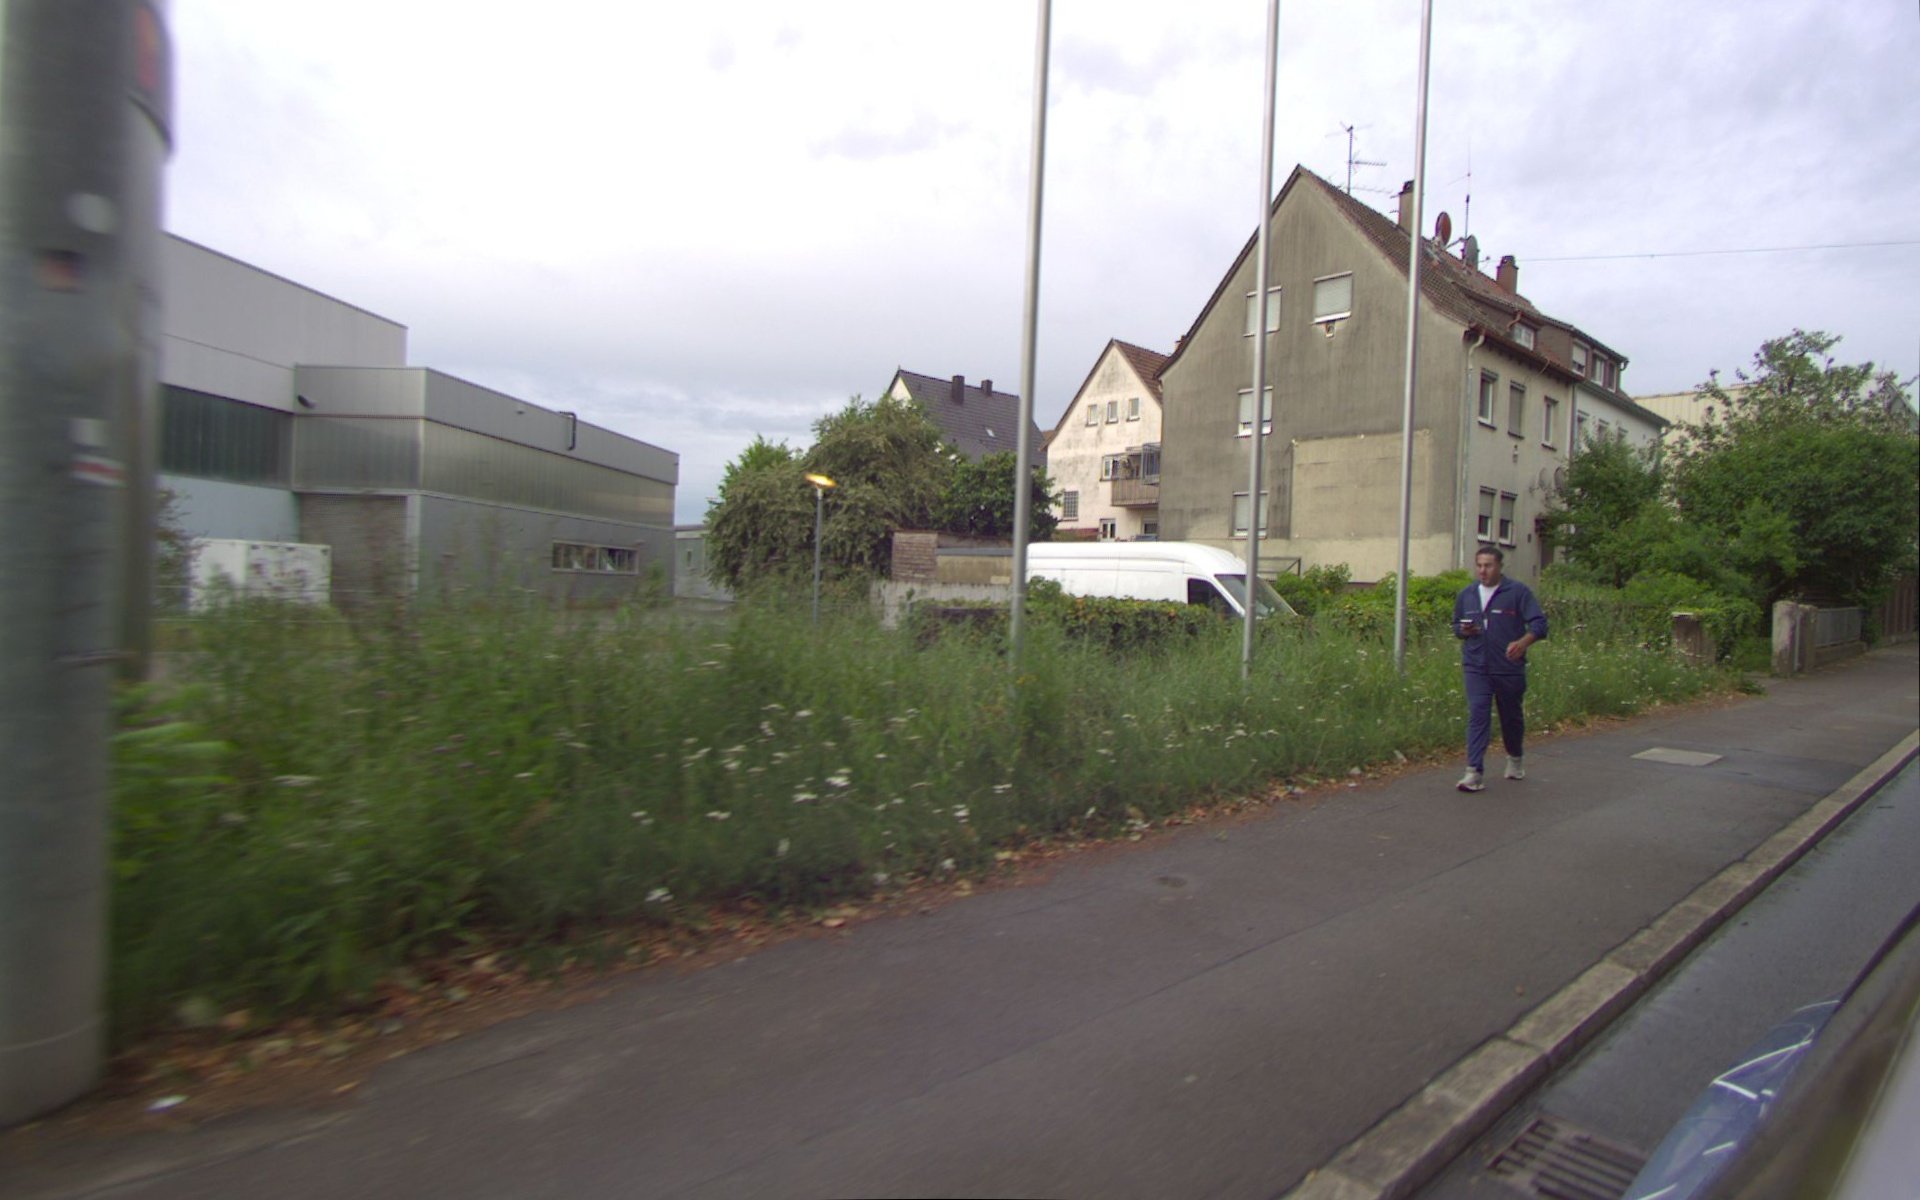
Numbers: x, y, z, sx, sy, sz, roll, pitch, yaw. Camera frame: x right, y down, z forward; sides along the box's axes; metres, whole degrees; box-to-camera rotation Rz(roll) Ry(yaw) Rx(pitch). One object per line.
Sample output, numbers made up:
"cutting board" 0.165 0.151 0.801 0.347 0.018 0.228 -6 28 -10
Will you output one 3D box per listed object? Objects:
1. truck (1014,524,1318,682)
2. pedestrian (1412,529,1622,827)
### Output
"truck" 3.820 0.029 19.903 2.008 2.670 5.854 -1 1 -41
"pedestrian" 3.951 0.482 7.202 0.885 1.920 1.045 -1 2 -41
